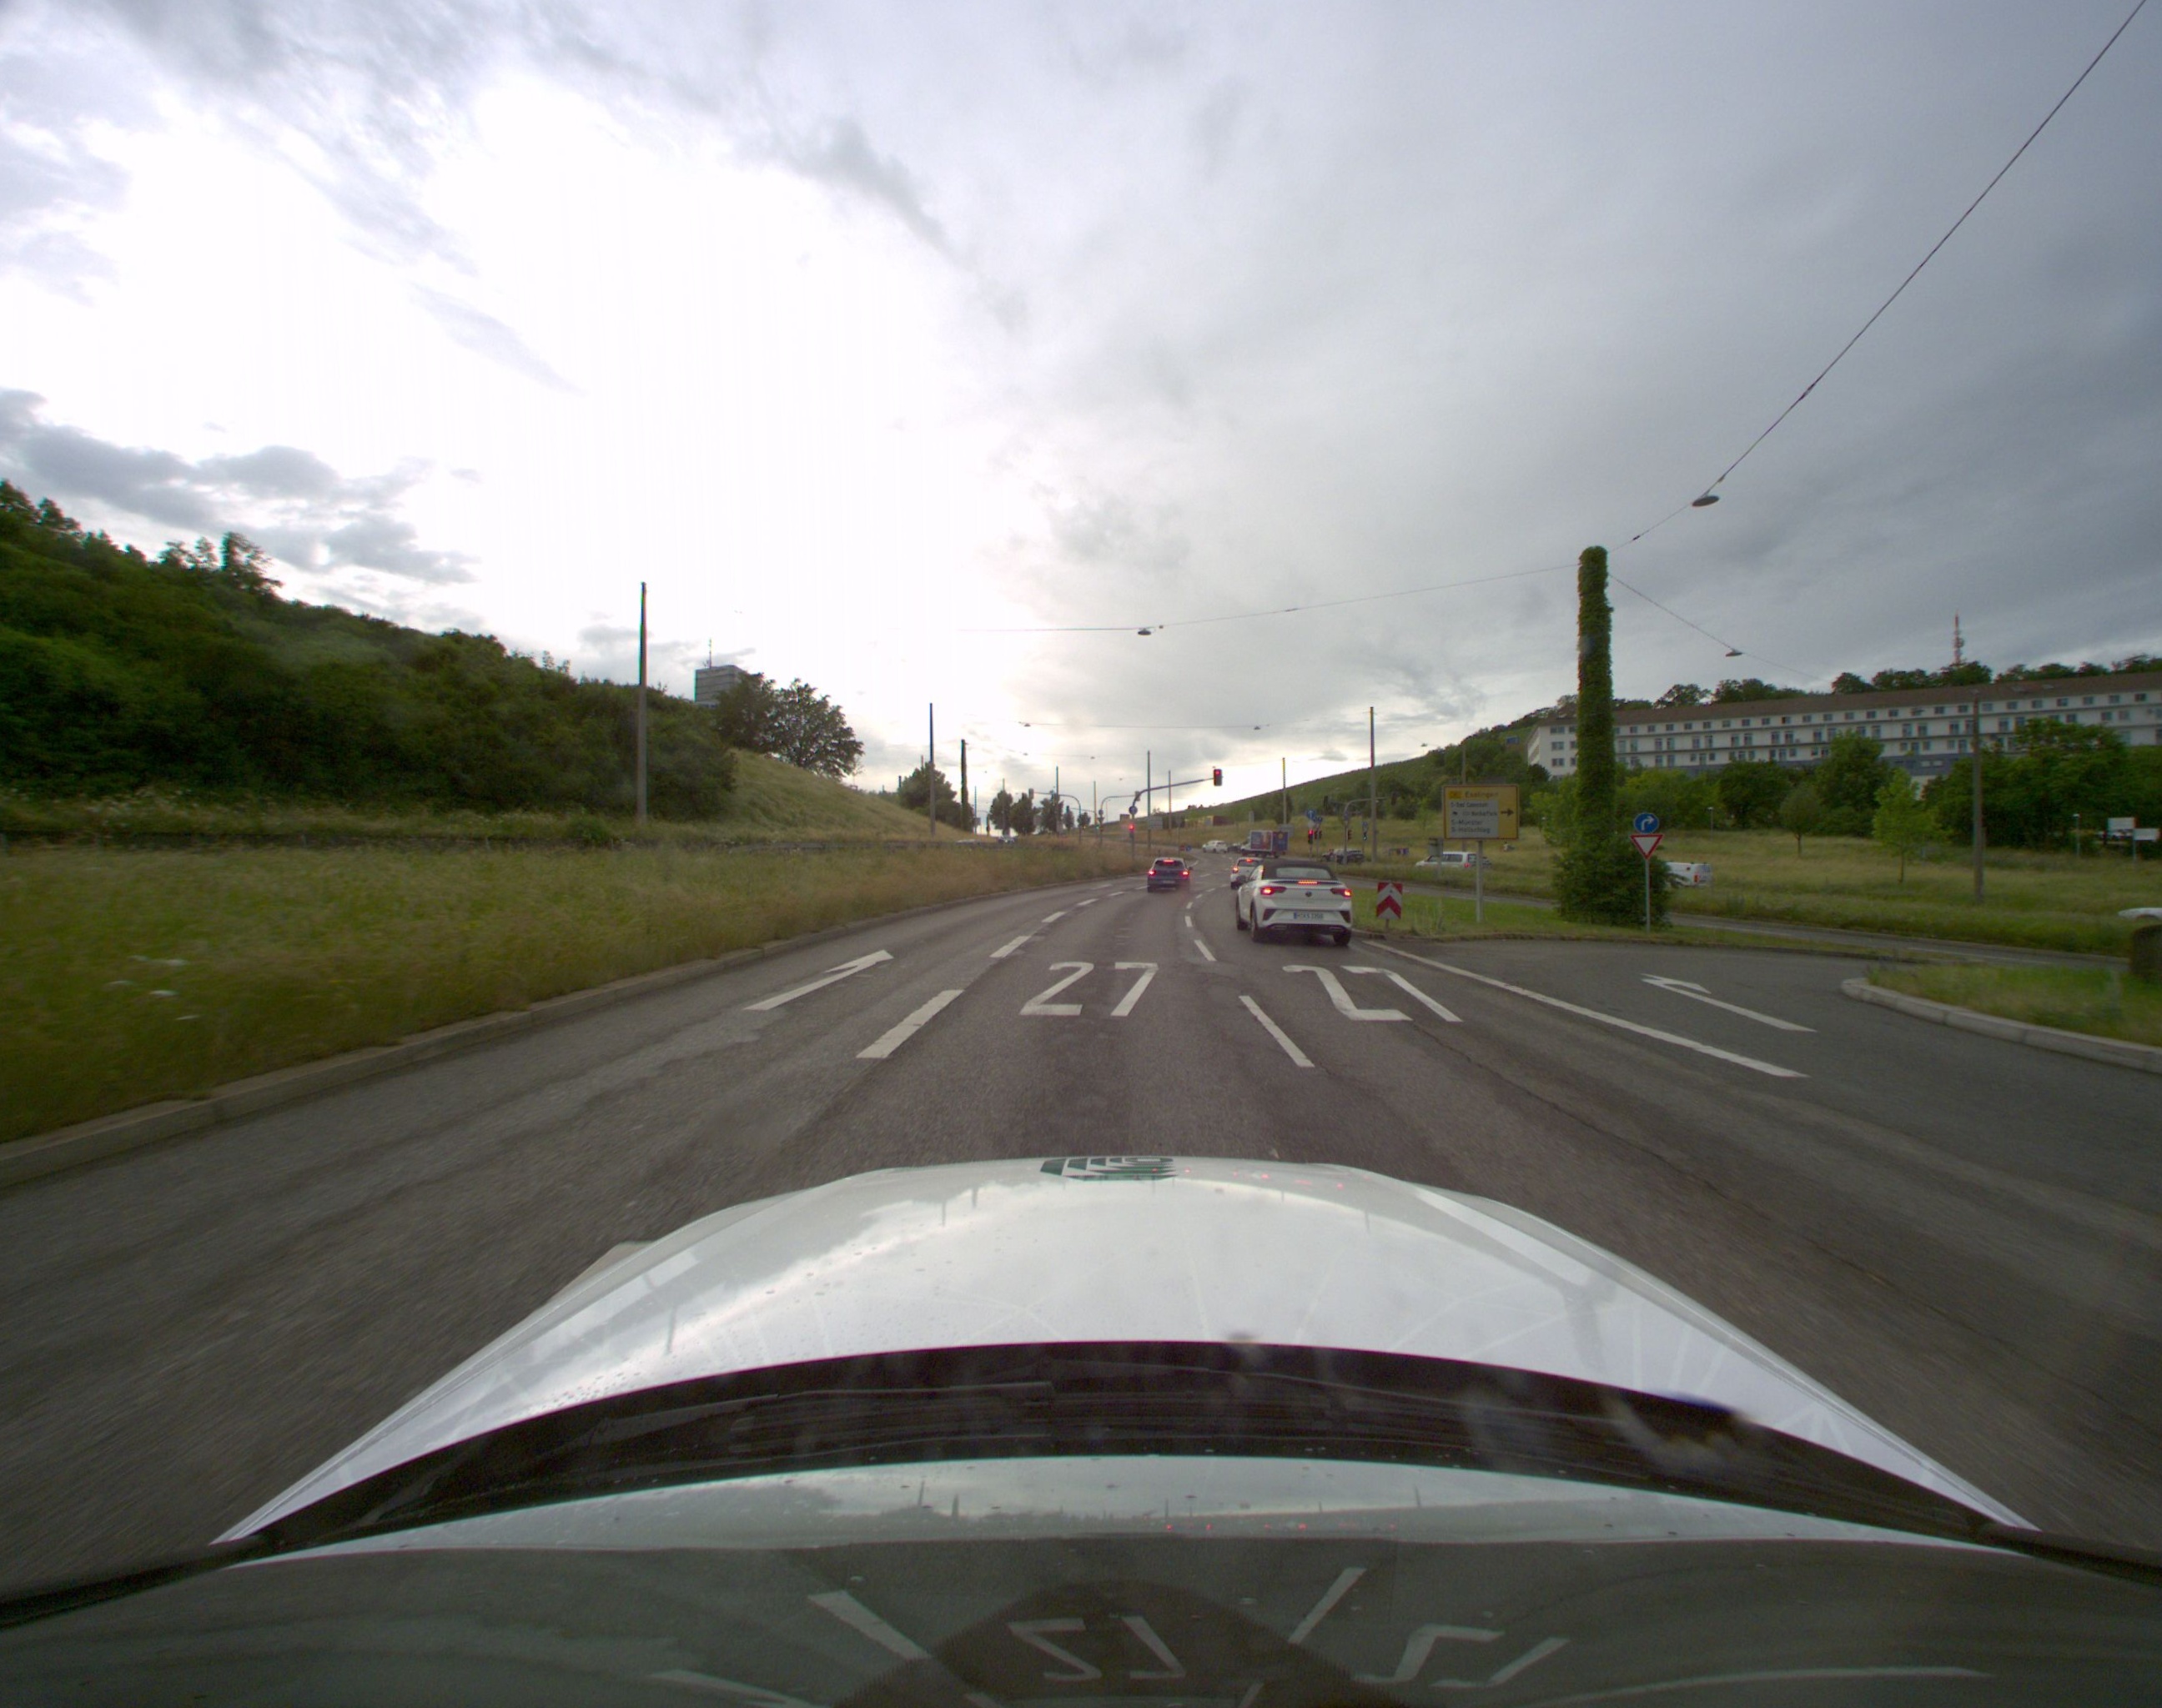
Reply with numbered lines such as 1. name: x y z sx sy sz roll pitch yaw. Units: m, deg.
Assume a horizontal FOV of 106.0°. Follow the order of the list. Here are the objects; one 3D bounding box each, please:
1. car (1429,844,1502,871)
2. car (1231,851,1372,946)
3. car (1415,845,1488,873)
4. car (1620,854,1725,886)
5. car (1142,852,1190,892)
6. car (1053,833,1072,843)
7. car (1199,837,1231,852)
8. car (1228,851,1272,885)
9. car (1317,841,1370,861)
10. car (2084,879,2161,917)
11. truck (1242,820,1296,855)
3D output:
1. car: 28.272 0.191 60.059 2.005 1.711 4.625 -2 3 -27
2. car: 4.238 0.770 16.326 1.986 1.578 4.131 2 0 5
3. car: 26.223 0.334 57.803 2.005 1.711 4.524 -2 3 -27
4. car: 36.124 0.919 49.921 2.003 1.693 4.857 0 2 -24
5. car: 3.673 0.744 35.050 1.916 1.599 4.068 0 -1 6
6. car: -3.507 -3.049 153.875 2.002 1.711 4.529 -2 1 -22
7. car: 16.473 -1.188 100.051 2.000 1.500 4.535 -2 3 -19
8. car: 8.379 0.644 40.207 1.761 1.519 3.741 2 1 17
9. car: 24.899 -0.334 77.353 2.008 1.711 4.517 -3 4 -33
10. car: 44.295 1.845 32.965 1.877 1.289 4.329 -2 3 -25
11. truck: 20.631 -1.889 89.871 2.859 3.526 6.193 -2 3 -21
